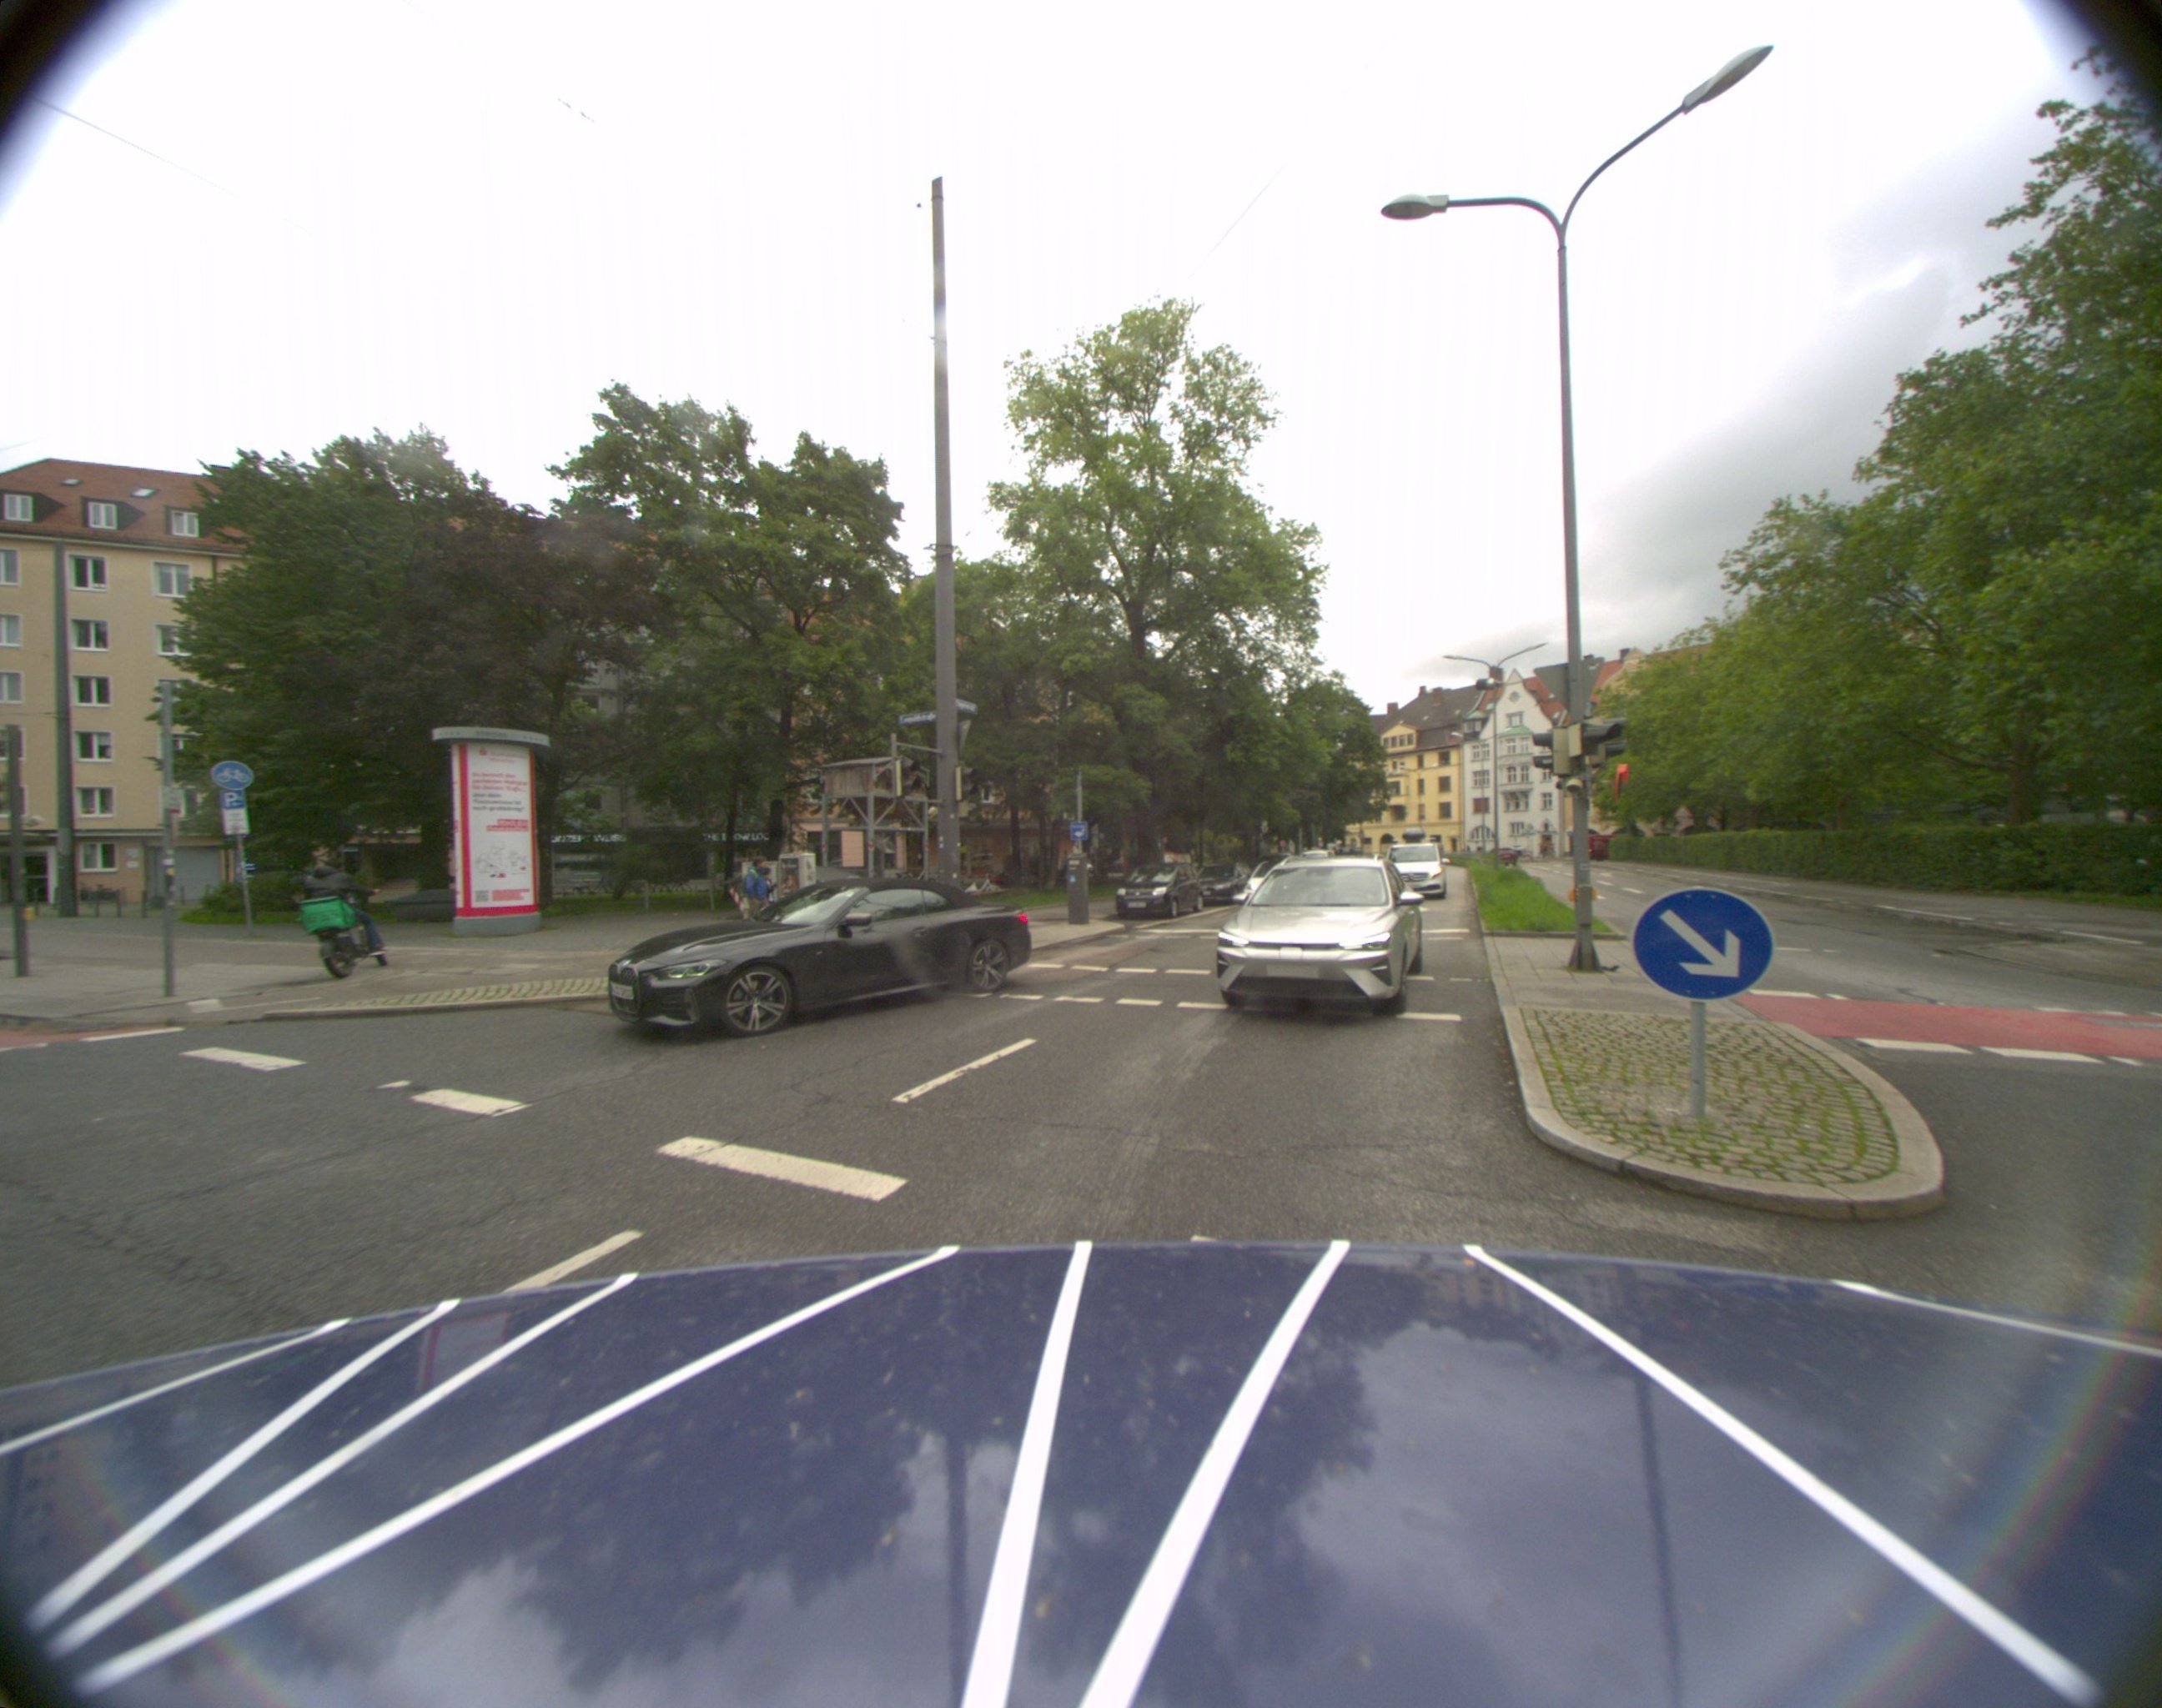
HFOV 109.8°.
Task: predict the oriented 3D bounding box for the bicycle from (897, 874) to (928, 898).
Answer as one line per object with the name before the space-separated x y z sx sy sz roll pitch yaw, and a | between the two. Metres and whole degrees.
bicycle | -6.988 1.315 31.524 0.312 0.888 1.415 -3 0 33

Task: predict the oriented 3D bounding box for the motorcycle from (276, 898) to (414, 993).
motorcycle | -10.875 1.297 11.330 0.631 1.163 2.026 -3 0 -19

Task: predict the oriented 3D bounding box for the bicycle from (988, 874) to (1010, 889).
bicycle | -4.140 1.407 38.210 1.175 0.719 0.319 -3 1 36

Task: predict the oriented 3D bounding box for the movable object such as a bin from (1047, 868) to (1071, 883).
movable object such as a bin | -1.318 1.254 44.706 1.178 0.867 0.775 -1 1 35

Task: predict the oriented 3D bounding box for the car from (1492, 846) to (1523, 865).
car | 37.233 0.138 66.388 2.105 1.628 4.949 0 0 26

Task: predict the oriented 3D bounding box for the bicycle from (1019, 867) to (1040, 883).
bicycle | -2.562 1.051 38.117 0.318 0.719 1.181 -2 0 38

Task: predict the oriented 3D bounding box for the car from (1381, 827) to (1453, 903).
car | 11.597 0.330 26.063 1.909 2.337 4.954 -1 0 28

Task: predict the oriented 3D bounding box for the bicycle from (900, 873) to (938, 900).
bicycle | -5.518 1.105 25.871 1.409 0.888 0.314 -3 1 34

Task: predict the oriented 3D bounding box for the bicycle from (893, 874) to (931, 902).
bicycle | -5.697 1.140 25.566 1.409 0.888 0.314 -3 1 34

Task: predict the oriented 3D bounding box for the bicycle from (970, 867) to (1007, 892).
bicycle | -3.641 0.994 29.895 1.412 0.888 0.313 -3 1 -10

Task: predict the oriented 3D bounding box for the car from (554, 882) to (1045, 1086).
car | -2.654 1.103 8.326 1.724 1.381 4.808 -1 0 39

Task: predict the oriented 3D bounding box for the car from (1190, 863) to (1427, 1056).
car | 2.827 0.949 8.682 1.772 1.515 4.216 -2 0 27

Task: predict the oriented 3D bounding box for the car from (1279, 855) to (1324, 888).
car | 11.294 0.869 38.779 1.520 1.540 3.668 -1 0 27

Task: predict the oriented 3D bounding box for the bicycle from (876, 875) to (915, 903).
bicycle | -6.107 1.161 24.980 1.409 0.888 0.314 -3 1 34

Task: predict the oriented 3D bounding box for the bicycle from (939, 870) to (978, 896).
bicycle | -4.557 1.081 28.294 1.412 0.888 0.313 -3 1 -10

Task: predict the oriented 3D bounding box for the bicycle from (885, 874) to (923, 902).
bicycle | -5.896 1.150 25.262 1.409 0.888 0.314 -3 1 34

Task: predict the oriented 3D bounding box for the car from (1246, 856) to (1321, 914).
car | 6.291 0.899 23.309 1.772 1.515 4.214 -2 0 20

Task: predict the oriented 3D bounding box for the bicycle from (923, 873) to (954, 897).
bicycle | -5.727 1.251 30.617 0.312 0.888 1.415 -3 0 33

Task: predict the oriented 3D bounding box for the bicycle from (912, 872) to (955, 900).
bicycle | -5.135 1.111 26.425 1.410 0.888 0.313 -3 1 13

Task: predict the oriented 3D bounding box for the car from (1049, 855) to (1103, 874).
car | -0.459 0.940 67.096 4.431 1.458 1.865 -3 0 36

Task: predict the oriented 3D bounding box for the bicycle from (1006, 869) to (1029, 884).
bicycle | -3.143 1.120 37.478 1.175 0.719 0.319 -3 1 36

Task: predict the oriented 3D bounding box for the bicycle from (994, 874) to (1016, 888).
bicycle | -3.939 1.396 39.153 1.175 0.719 0.319 -3 1 36

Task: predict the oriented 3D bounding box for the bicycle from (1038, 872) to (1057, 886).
bicycle | -1.748 1.285 39.374 0.319 0.719 1.176 -3 0 -37

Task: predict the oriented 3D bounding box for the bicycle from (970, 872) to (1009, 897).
bicycle | -3.533 1.173 29.321 1.412 0.888 0.313 -3 1 -10

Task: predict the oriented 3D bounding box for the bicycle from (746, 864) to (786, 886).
bicycle | -19.663 1.305 47.478 2.251 1.282 0.506 -3 1 -27

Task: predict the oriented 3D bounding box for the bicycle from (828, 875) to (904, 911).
bicycle | -6.745 1.231 23.811 2.235 1.010 0.631 -3 0 16

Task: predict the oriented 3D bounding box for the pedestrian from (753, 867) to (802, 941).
pedestrian | -6.024 0.979 15.081 0.719 1.396 0.546 1 2 26

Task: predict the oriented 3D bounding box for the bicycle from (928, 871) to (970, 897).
bicycle | -4.766 1.092 27.450 1.411 0.888 0.313 -1 1 1

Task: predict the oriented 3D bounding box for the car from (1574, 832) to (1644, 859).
car | 50.144 -0.769 72.153 6.084 2.574 2.107 0 0 -15

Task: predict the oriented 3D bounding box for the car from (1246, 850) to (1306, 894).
car | 8.809 0.764 34.032 1.933 1.809 4.561 -1 0 23

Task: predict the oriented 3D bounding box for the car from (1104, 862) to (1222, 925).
car | 2.517 1.067 22.238 1.832 1.540 4.562 -1 0 28

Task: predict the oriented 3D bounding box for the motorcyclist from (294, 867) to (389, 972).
motorcyclist | -10.841 0.931 11.172 0.621 1.434 0.880 -3 1 -20

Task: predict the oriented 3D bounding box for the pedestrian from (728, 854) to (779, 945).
pedestrian | -6.261 0.845 14.538 0.719 1.652 0.546 3 3 26

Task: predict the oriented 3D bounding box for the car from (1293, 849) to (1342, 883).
car | 13.821 0.632 44.172 1.845 1.845 5.033 -1 0 27

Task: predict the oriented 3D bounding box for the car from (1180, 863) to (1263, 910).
car | 5.118 1.100 27.174 1.769 1.452 4.650 -1 0 25
